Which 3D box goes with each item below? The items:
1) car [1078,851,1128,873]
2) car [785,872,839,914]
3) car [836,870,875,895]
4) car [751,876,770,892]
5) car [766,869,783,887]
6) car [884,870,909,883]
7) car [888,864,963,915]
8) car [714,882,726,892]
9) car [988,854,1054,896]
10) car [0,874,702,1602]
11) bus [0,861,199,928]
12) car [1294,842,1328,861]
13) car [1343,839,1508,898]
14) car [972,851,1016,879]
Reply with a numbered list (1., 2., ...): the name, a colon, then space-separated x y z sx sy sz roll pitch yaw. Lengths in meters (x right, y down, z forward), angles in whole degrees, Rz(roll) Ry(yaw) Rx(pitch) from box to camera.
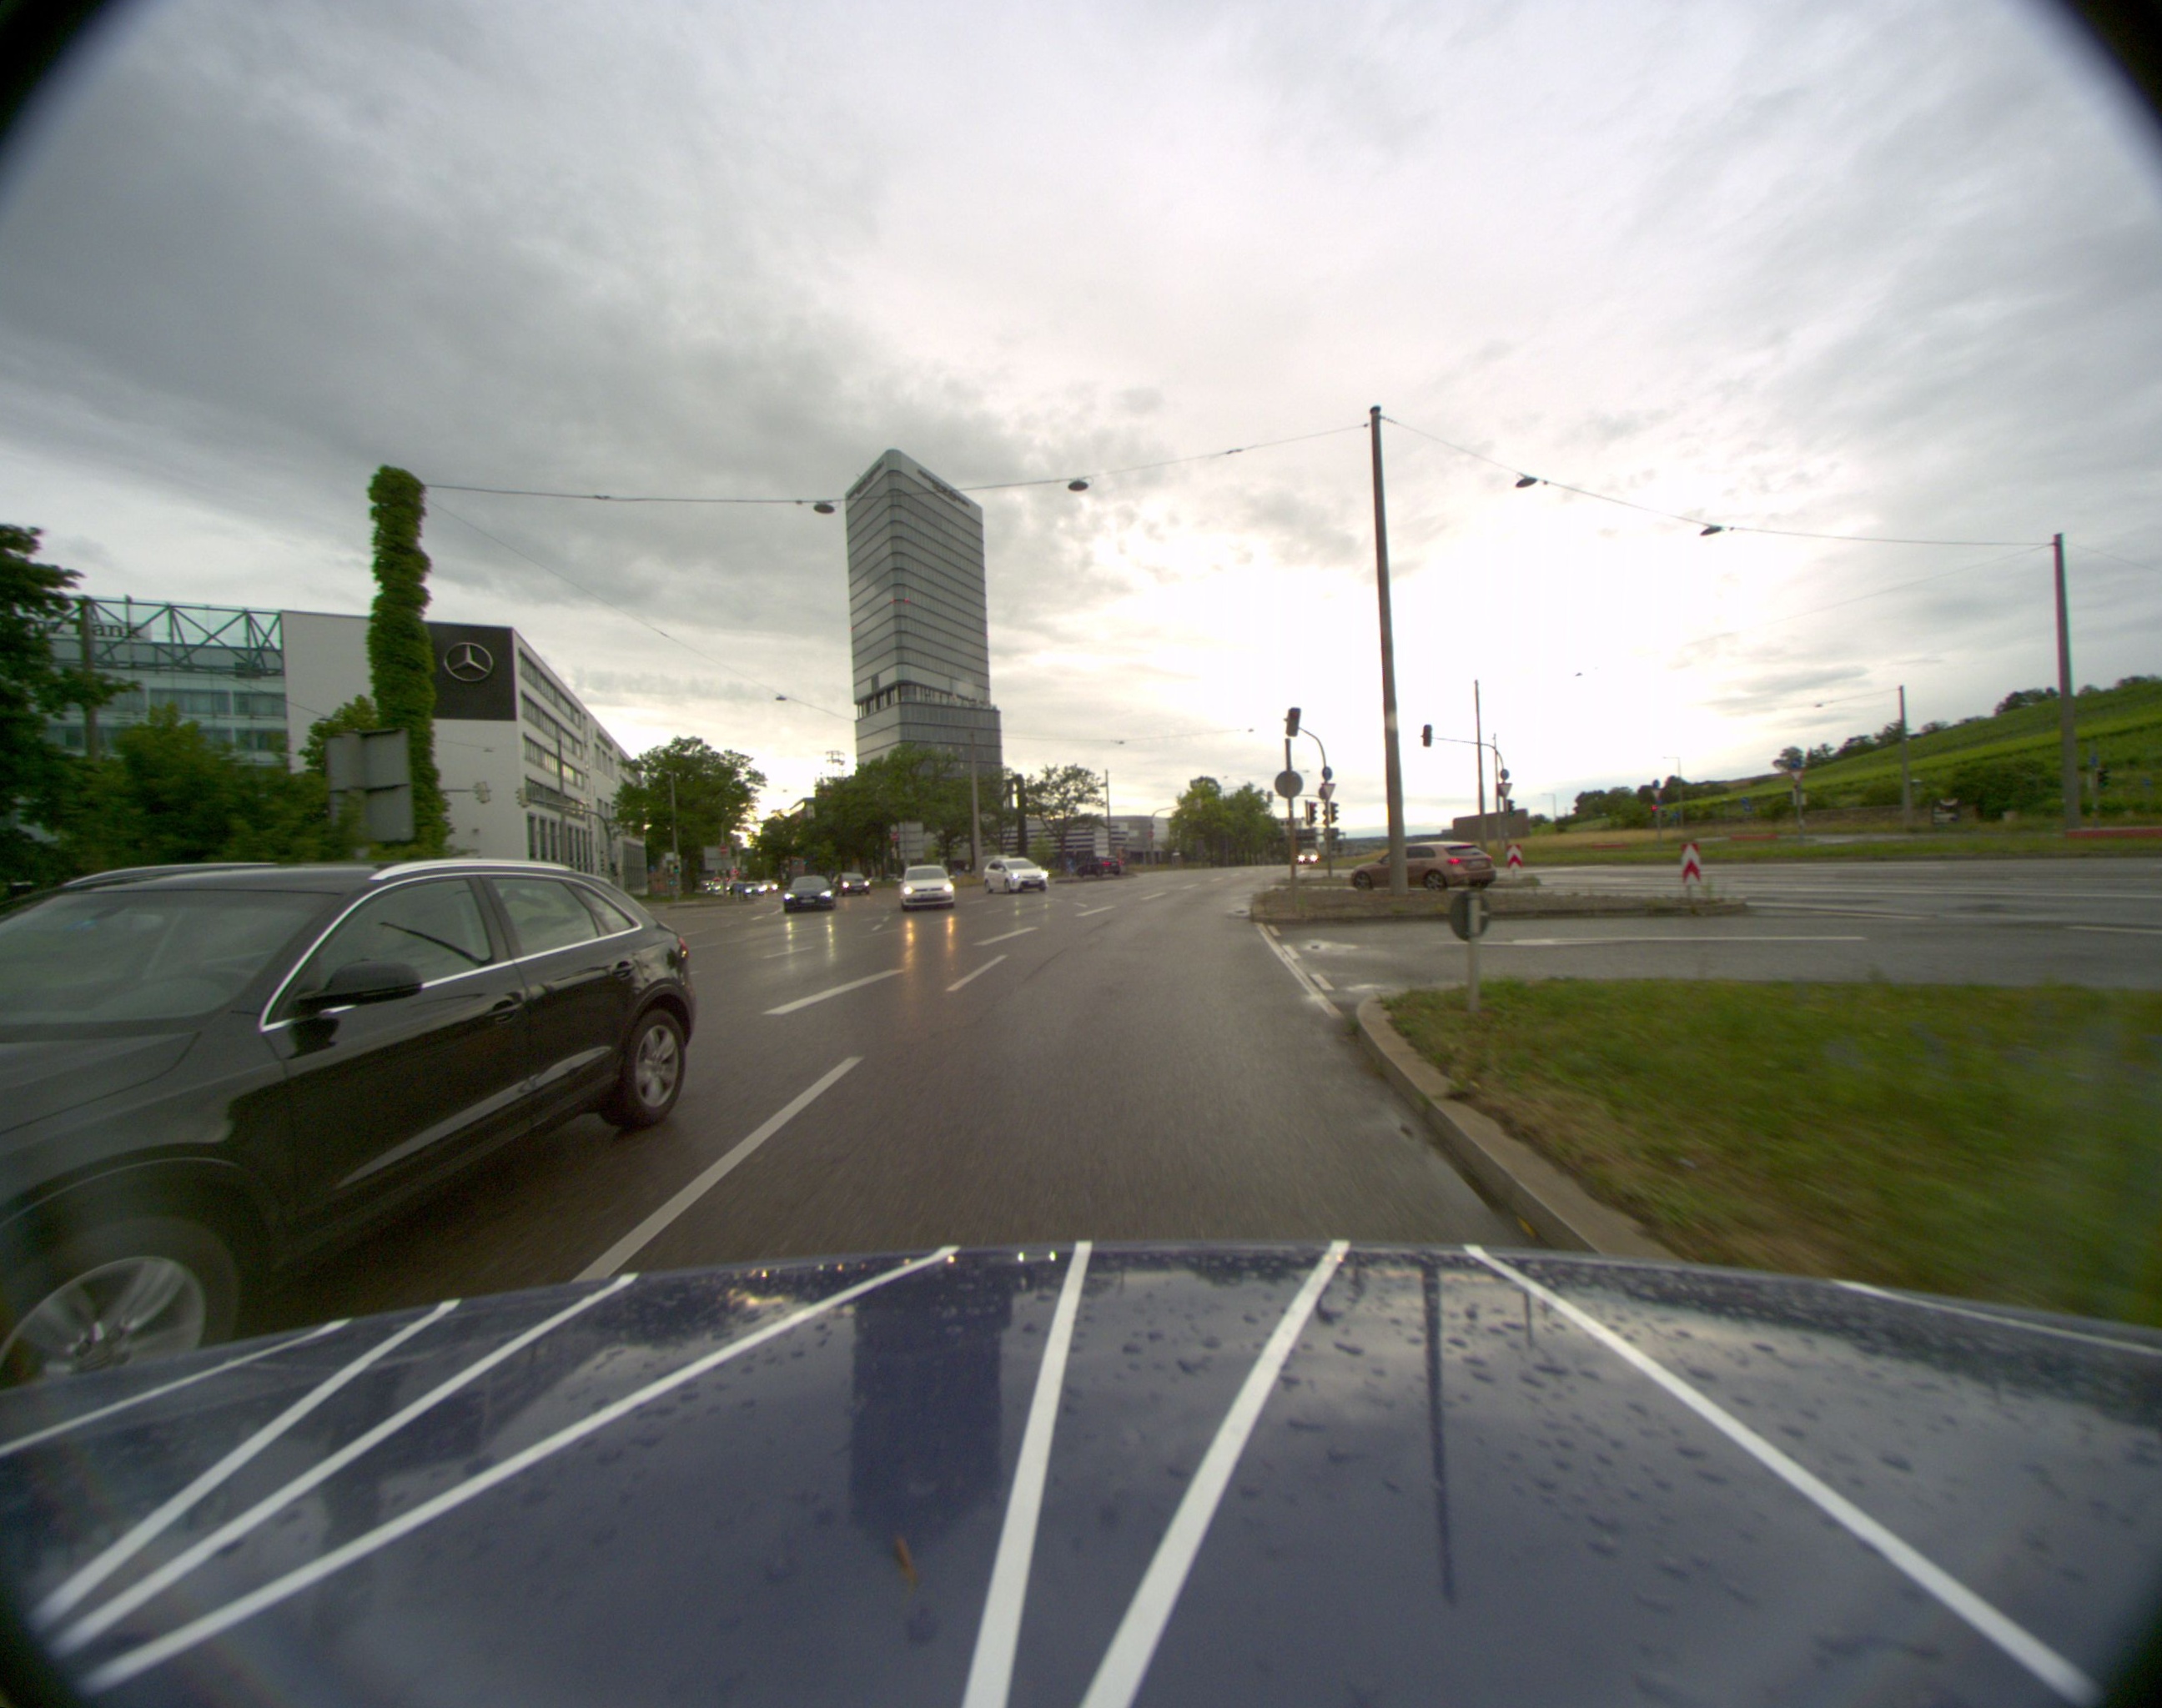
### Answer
1. car: 1.717 0.655 60.952 1.742 1.587 4.331 -4 0 -33
2. car: -10.823 1.518 30.801 1.761 1.390 3.994 -3 1 -16
3. car: -14.356 1.786 48.230 1.572 1.407 3.871 -4 0 -28
4. car: -32.443 3.015 76.900 1.614 1.505 3.625 -3 1 -25
5. car: -36.349 2.871 90.099 1.614 2.002 3.625 -3 1 -25
6. car: -22.407 2.744 92.208 1.685 1.476 3.782 -4 0 -31
7. car: -5.374 1.129 25.879 1.732 1.464 4.256 -4 1 -21
8. car: -69.482 6.335 146.197 1.716 1.699 3.874 -3 1 -28
9. car: -2.836 0.899 34.822 1.830 1.575 4.288 -4 3 -20
10. car: -3.343 0.936 2.925 1.730 1.525 4.125 -2 0 -2
11. bus: -56.150 2.282 41.338 11.847 3.182 1.998 -3 1 -11
12. car: 21.843 -0.272 72.048 1.792 1.579 3.913 -2 1 36
13. car: 9.904 0.407 22.231 1.741 1.453 4.333 -3 0 -22
14. car: -8.961 1.151 77.654 1.934 2.569 5.446 -4 1 -36
